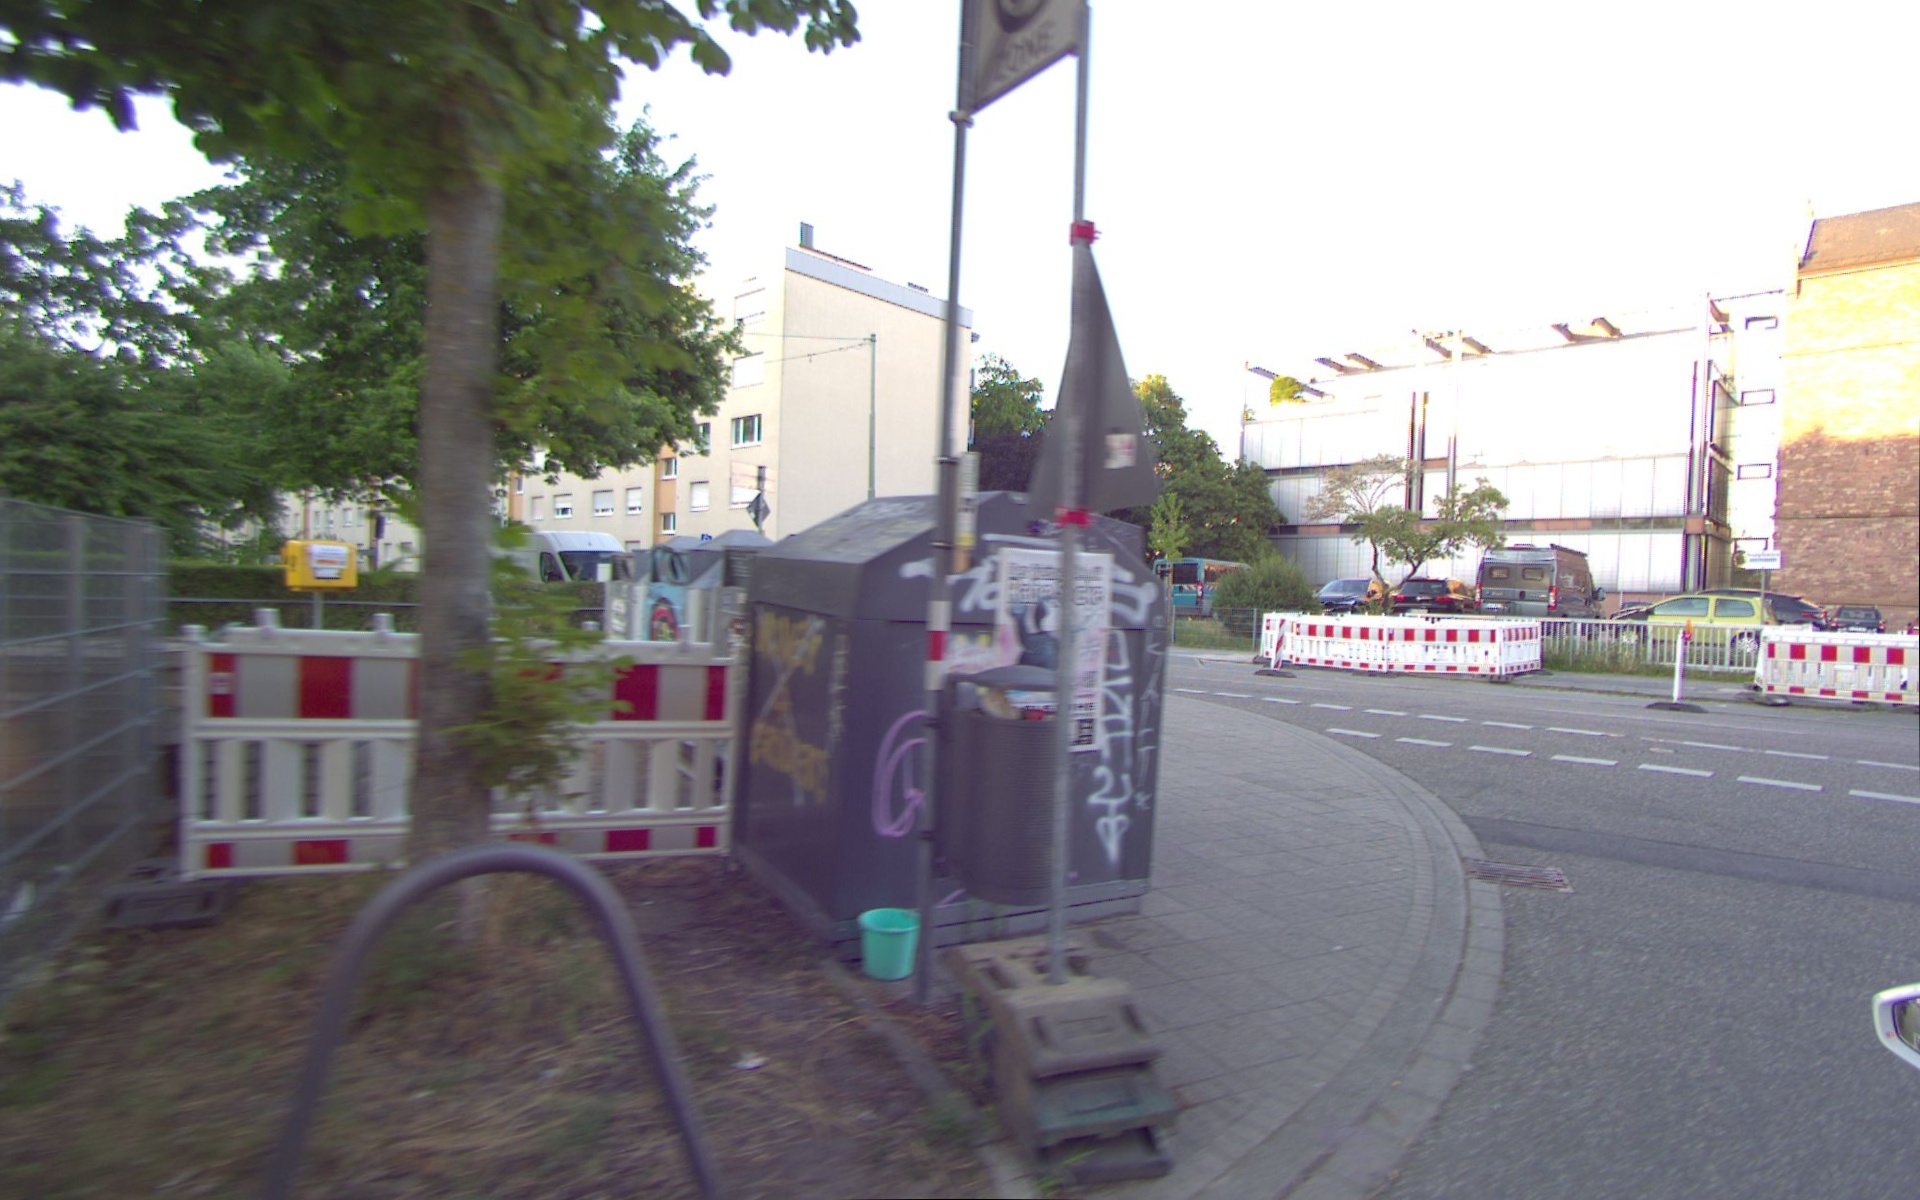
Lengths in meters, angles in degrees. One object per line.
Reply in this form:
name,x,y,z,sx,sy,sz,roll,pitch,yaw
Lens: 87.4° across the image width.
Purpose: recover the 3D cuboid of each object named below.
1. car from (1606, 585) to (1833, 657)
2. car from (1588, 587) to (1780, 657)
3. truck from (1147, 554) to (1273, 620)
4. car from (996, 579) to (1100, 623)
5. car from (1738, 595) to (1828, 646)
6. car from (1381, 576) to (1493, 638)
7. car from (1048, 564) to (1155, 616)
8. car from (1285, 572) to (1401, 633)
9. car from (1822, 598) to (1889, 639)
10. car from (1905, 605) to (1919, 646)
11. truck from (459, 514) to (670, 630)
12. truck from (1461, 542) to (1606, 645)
car,19.703,0.489,26.221,1.565,1.660,4.538,0,1,-44
car,17.730,0.490,24.695,1.626,1.524,3.596,1,1,-44
truck,8.685,-0.410,34.691,4.480,2.118,2.086,1,1,-43
car,3.586,0.049,40.302,1.972,1.669,4.201,2,1,43
car,28.219,0.665,34.391,1.973,1.597,4.337,2,1,44
car,14.447,0.190,30.321,1.971,1.715,3.978,2,1,42
car,5.463,-0.361,38.422,1.972,1.850,4.201,2,1,43
car,12.043,0.054,31.475,1.971,1.750,4.277,2,1,42
car,36.983,0.752,41.454,1.877,1.558,4.153,2,1,44
car,38.525,1.005,39.500,1.877,1.558,4.153,2,1,44
truck,-9.531,-0.689,23.930,5.954,2.456,2.098,2,2,40
truck,16.319,-0.181,28.473,2.310,2.652,4.941,2,1,45
